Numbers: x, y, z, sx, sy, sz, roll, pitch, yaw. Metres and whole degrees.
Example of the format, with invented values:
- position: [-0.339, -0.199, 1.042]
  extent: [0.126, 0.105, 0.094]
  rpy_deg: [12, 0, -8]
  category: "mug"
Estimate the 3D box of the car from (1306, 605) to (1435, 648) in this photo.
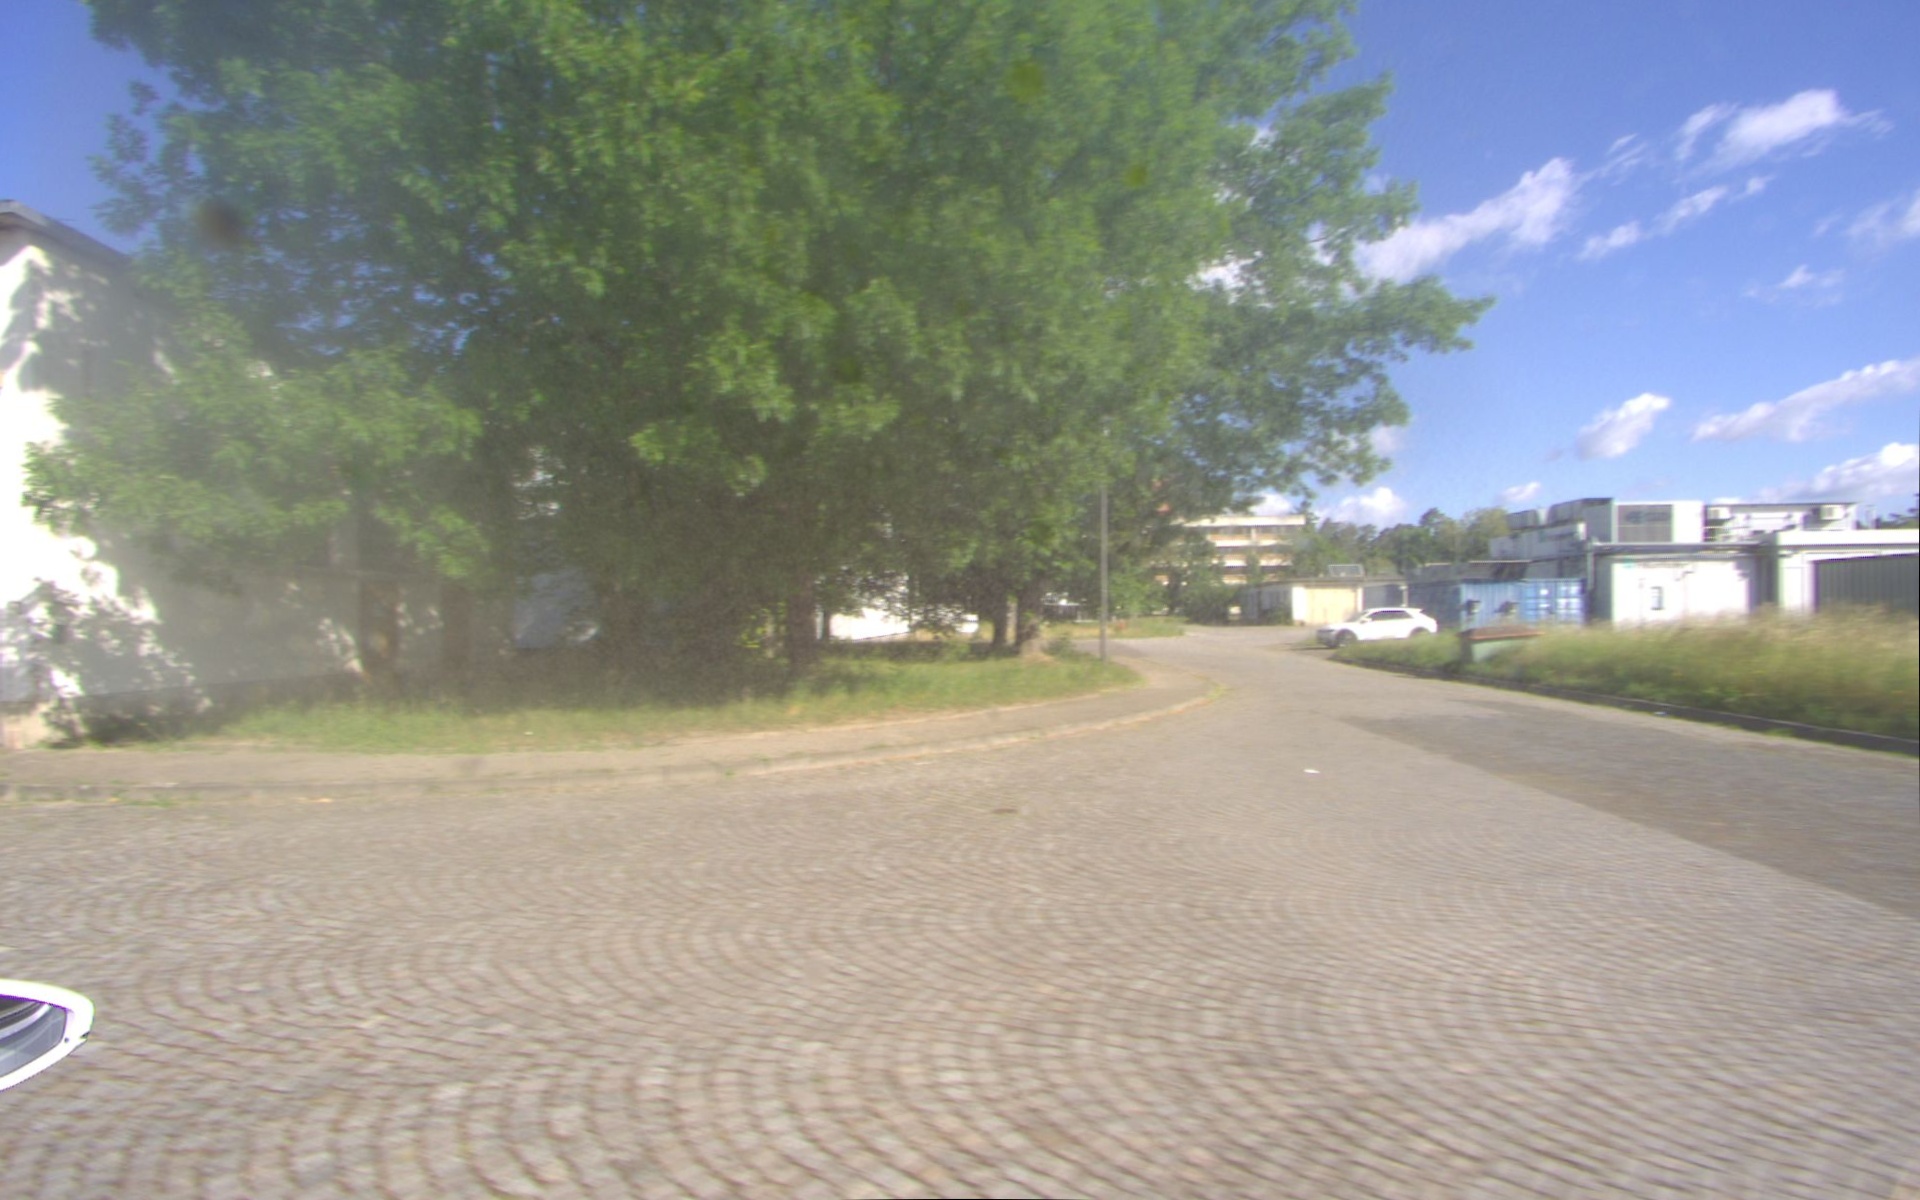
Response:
- position: [16.684, 1.067, 40.884]
  extent: [4.513, 1.699, 1.875]
  rpy_deg: [-1, 0, 4]
  category: "car"
